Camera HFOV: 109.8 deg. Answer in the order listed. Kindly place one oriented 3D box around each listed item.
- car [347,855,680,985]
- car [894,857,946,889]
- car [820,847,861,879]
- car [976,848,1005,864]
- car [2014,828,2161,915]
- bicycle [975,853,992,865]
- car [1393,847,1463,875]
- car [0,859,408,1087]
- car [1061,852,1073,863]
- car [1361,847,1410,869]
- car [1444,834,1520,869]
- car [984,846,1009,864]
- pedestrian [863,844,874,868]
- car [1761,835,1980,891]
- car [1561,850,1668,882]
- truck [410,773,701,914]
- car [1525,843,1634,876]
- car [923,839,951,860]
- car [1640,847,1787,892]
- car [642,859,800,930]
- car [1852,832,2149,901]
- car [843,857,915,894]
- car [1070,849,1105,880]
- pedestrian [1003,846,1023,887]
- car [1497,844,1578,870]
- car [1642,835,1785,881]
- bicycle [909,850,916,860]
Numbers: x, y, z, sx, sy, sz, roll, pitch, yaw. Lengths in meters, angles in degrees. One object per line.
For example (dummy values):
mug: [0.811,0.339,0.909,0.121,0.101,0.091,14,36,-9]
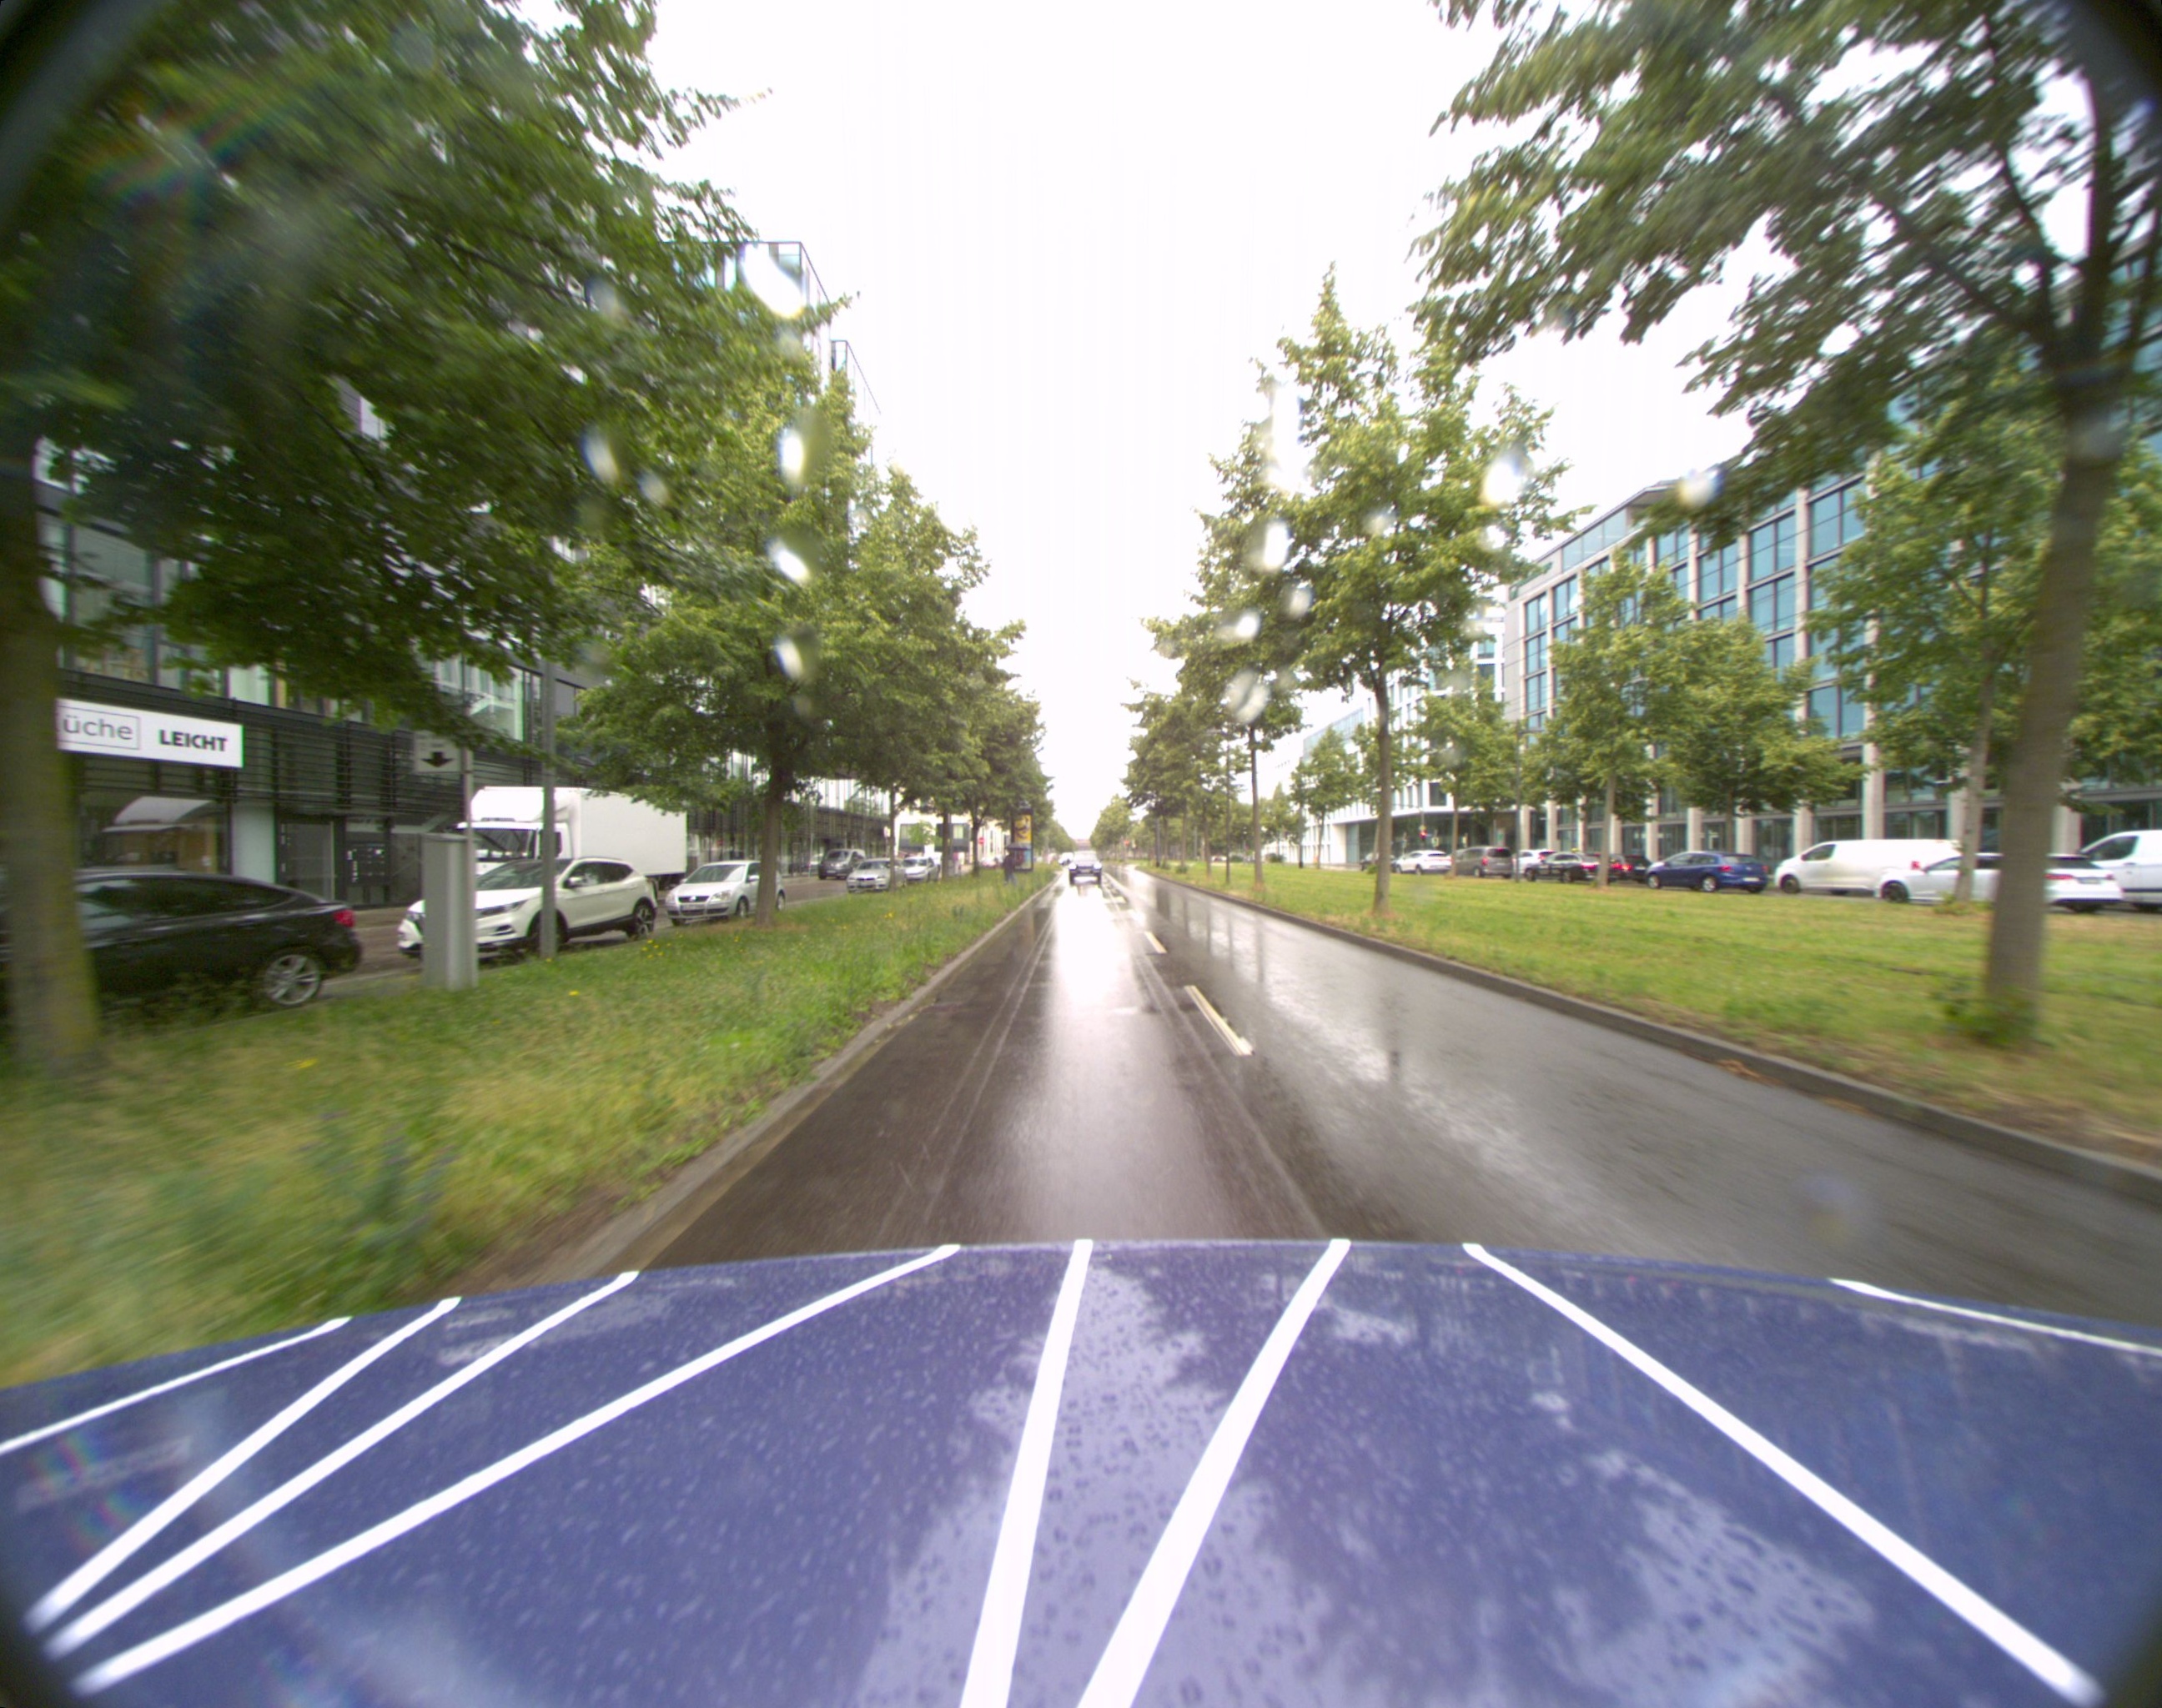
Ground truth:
car: [-9.072,0.912,12.839,1.998,1.659,4.723,-3,0,0]
car: [-8.385,0.994,39.801,1.765,1.586,4.101,-1,-1,1]
car: [-15.263,0.517,48.401,2.001,1.909,5.143,-1,1,-13]
car: [-8.380,0.155,70.730,1.998,1.446,4.959,-1,0,1]
car: [25.746,0.381,17.374,2.273,1.994,5.374,-1,-1,2]
bicycle: [-8.043,0.399,62.577,1.458,0.911,0.434,-2,-1,33]
car: [19.824,0.368,43.686,1.955,1.444,4.575,-1,1,0]
car: [-8.890,0.919,6.359,1.998,1.659,4.958,-3,0,1]
car: [-2.109,0.470,113.518,1.687,1.520,3.969,-1,-1,-1]
car: [22.949,0.334,57.451,1.956,1.550,4.464,-1,-1,0]
car: [22.696,-0.133,43.219,1.956,1.837,4.543,-1,0,0]
car: [-8.489,0.098,76.672,1.999,1.697,4.218,-1,-1,0]
pedestrian: [-15.267,0.148,54.547,0.581,1.729,0.803,-2,-1,-2]
car: [25.893,0.330,25.260,1.956,1.642,5.030,-1,-1,-2]
car: [25.976,0.621,37.241,1.863,1.437,4.626,-1,-1,-2]
truck: [-15.067,-0.301,22.999,3.033,3.421,8.545,-1,1,-2]
car: [22.707,0.307,34.860,1.956,1.377,4.605,-1,-1,0]
car: [-13.516,-0.376,71.559,1.898,1.855,4.722,-1,0,-2]
car: [22.772,0.589,27.589,1.956,1.485,3.962,-1,-1,-2]
car: [-8.828,0.970,19.162,1.774,1.443,4.724,-4,-2,-2]
car: [22.739,0.255,19.161,1.955,1.504,4.575,-1,1,0]
car: [-8.891,0.888,33.936,1.999,1.436,5.235,-1,1,-2]
car: [0.395,0.569,44.353,1.928,1.651,4.715,0,1,1]
pedestrian: [-2.487,0.448,27.811,0.643,1.485,0.700,-1,1,-2]
car: [26.172,0.221,43.737,1.956,1.377,4.272,-1,-1,-2]
car: [26.003,0.228,31.511,1.956,1.735,4.634,-1,-1,-2]
bicycle: [-15.484,0.108,69.732,0.437,0.892,1.232,-1,-1,-4]
